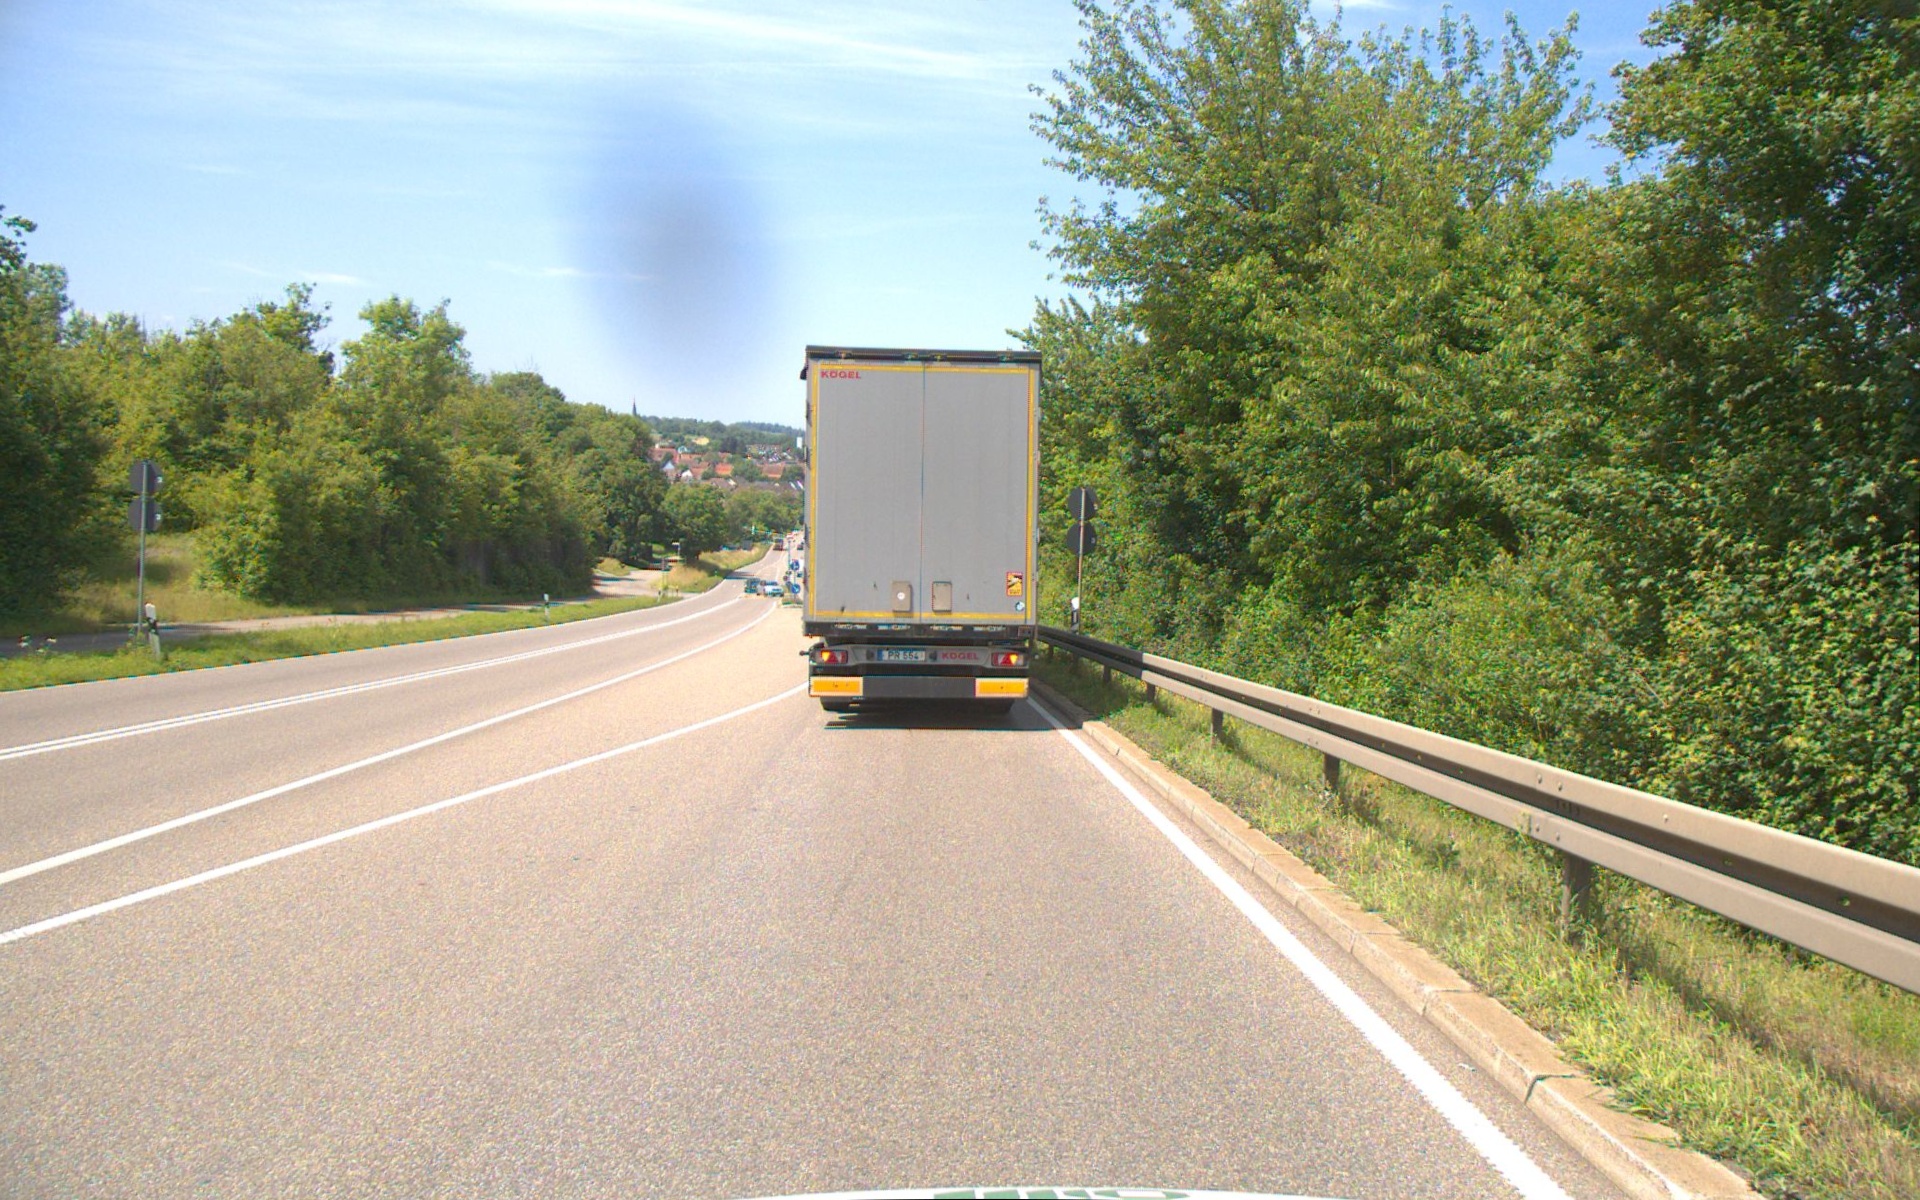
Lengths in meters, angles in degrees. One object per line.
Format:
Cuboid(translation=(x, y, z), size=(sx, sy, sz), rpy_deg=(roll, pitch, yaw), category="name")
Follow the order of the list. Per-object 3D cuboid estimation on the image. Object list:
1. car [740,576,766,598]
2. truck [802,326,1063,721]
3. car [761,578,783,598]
Cuboid(translation=(-18.686, -1.181, 149.280), size=(1.736, 1.959, 3.730), rpy_deg=(1, 0, -17), category="car")
Cuboid(translation=(-0.445, -0.852, 23.334), size=(2.701, 4.100, 11.920), rpy_deg=(1, 0, -2), category="truck")
Cuboid(translation=(-17.623, -1.071, 154.914), size=(1.499, 1.825, 3.389), rpy_deg=(1, 0, -16), category="car")
